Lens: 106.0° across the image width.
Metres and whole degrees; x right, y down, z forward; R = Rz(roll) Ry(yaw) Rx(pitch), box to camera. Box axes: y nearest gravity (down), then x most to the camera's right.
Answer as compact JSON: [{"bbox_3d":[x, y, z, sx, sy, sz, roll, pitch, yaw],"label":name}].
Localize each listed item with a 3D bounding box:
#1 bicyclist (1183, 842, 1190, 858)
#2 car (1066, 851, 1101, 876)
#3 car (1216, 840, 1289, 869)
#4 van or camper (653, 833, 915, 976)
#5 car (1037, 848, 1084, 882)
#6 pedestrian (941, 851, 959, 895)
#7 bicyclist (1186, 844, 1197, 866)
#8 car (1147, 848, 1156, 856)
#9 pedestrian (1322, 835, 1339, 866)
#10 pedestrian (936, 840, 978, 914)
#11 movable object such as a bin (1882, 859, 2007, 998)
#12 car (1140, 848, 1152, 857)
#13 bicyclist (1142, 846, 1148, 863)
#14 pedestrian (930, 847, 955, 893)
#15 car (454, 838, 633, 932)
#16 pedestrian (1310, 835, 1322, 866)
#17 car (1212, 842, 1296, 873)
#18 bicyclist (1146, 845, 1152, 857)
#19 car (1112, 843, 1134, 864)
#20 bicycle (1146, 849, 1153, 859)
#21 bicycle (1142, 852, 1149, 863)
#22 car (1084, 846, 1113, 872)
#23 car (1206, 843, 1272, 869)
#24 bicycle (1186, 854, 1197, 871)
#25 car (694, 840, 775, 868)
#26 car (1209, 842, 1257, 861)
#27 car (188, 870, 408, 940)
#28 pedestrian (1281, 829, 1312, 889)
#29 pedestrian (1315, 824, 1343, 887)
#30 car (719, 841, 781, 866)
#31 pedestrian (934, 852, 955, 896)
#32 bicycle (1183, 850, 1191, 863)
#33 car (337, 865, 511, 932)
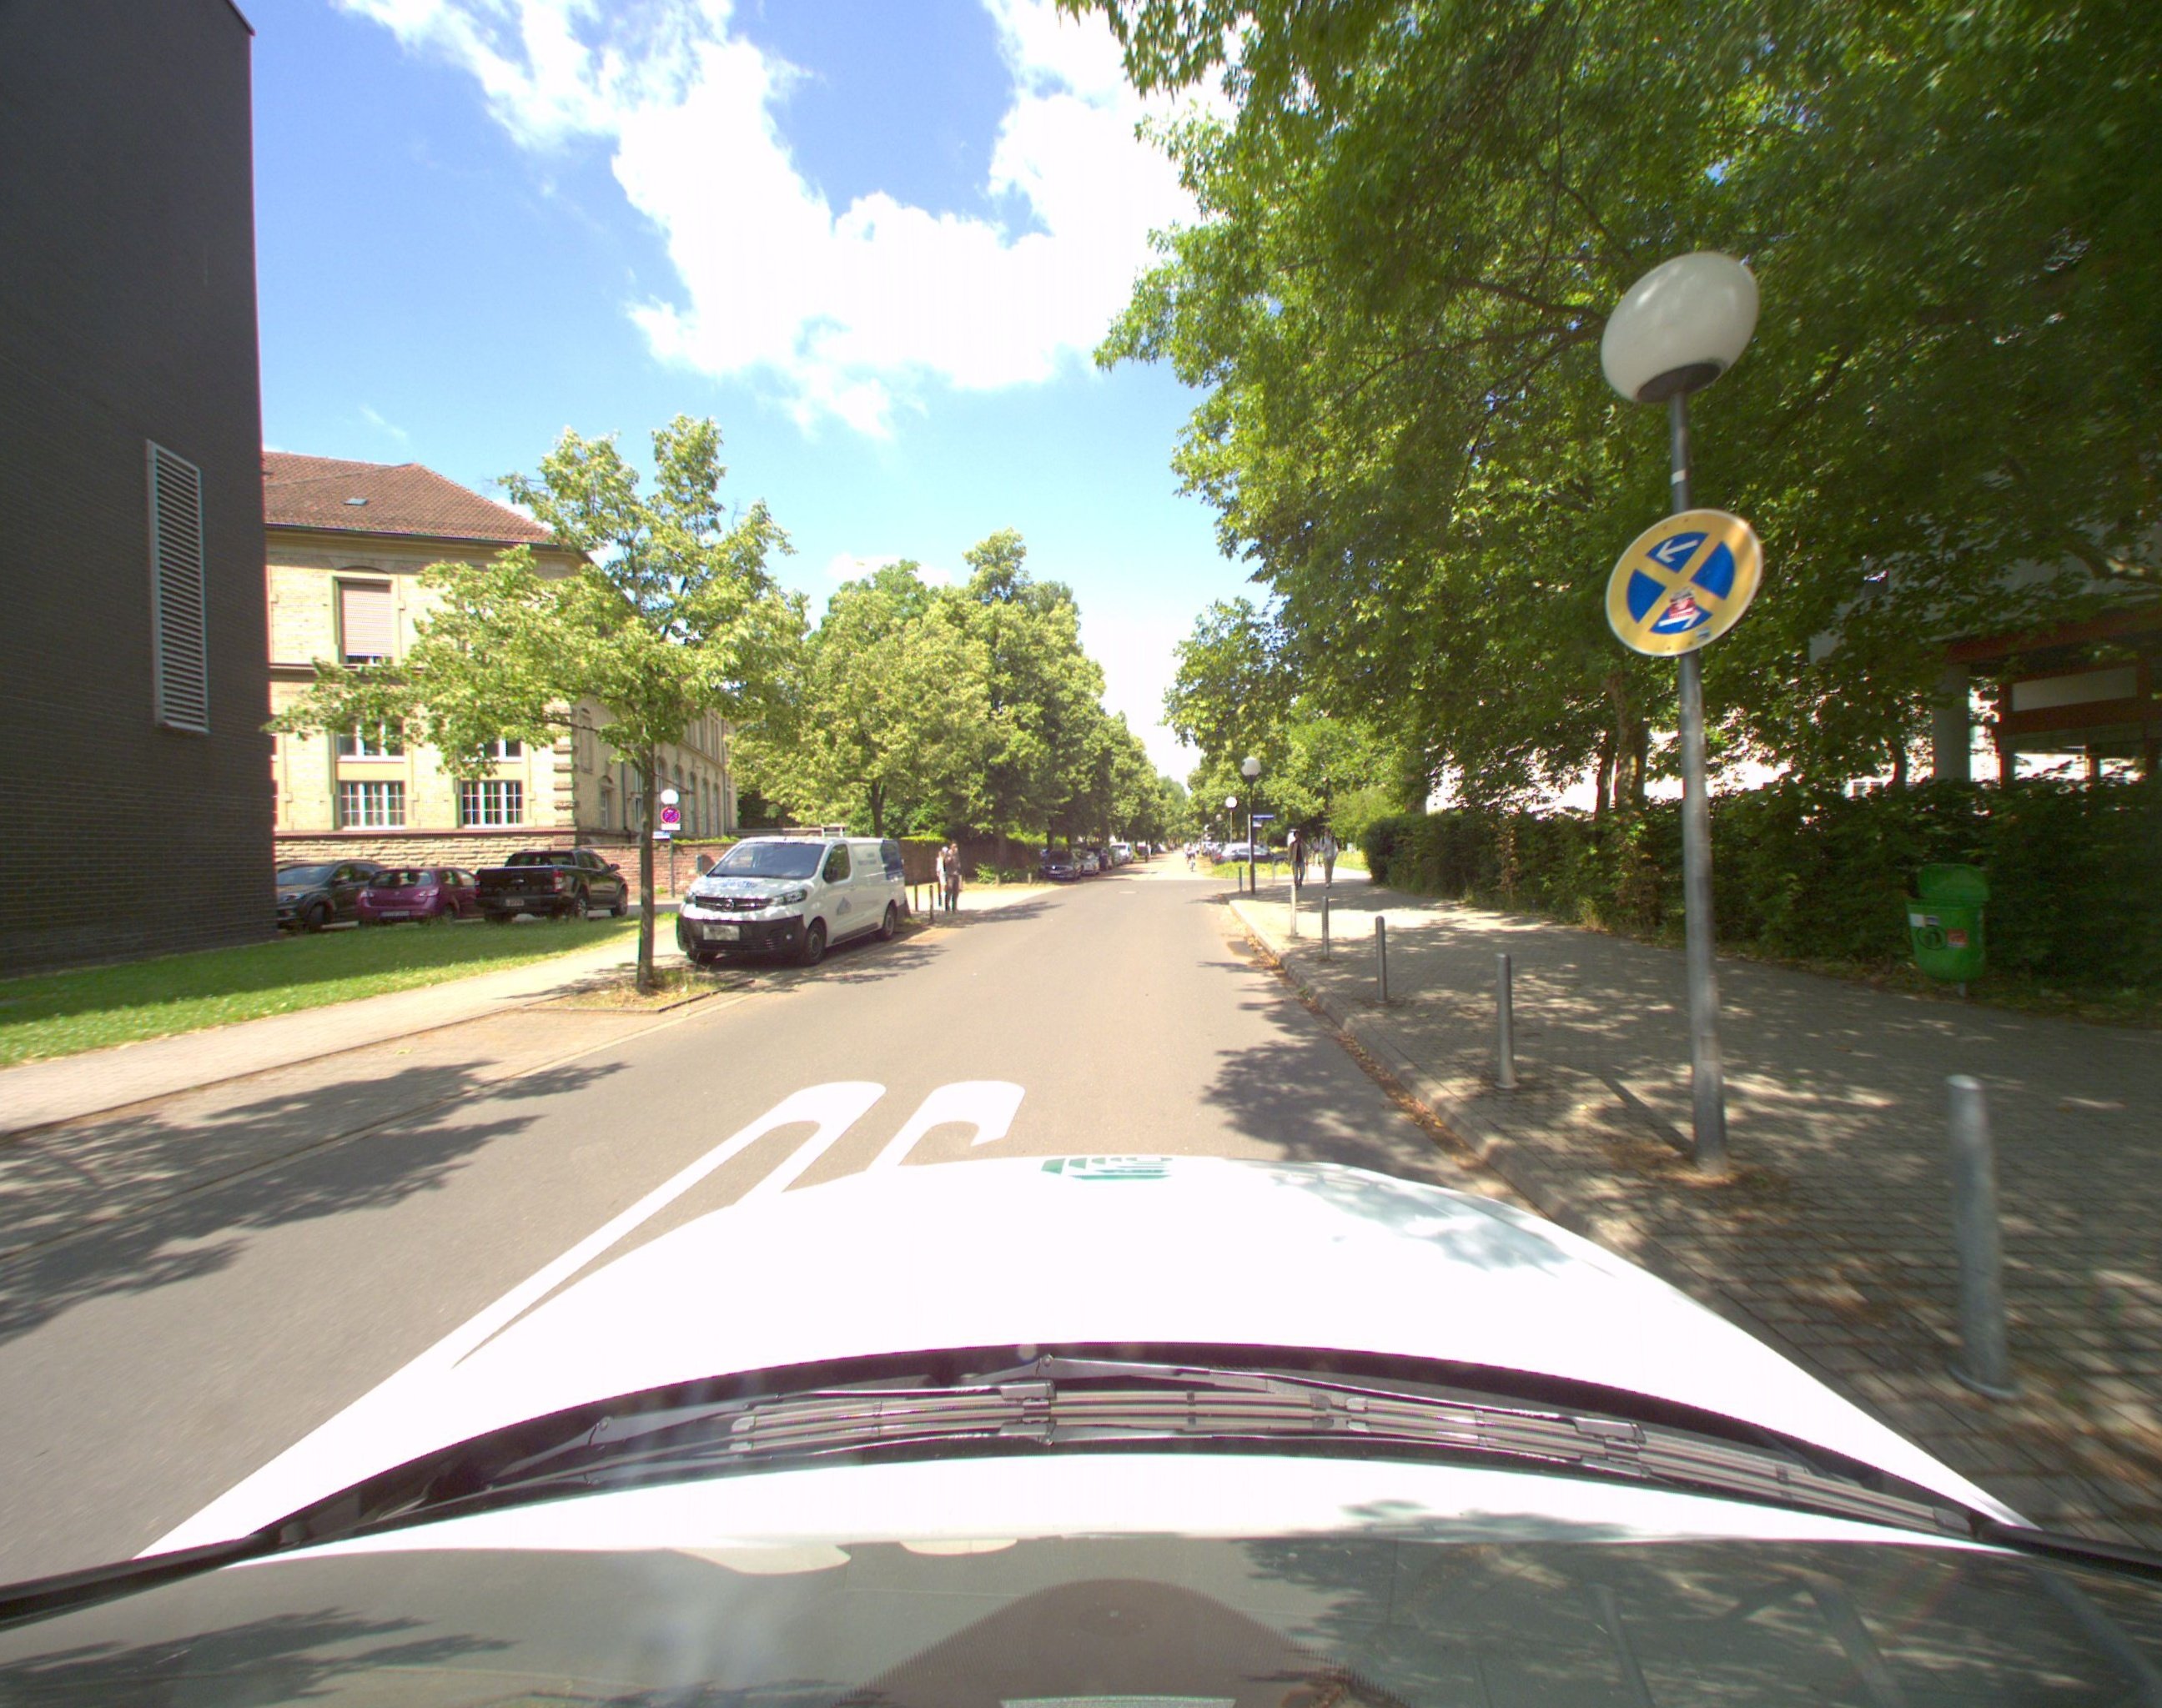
[{"bbox_3d":[8.762,-0.342,67.431,0.519,1.296,0.612,-1,0,6],"label":"bicyclist"},{"bbox_3d":[0.199,0.527,47.733,1.607,1.387,4.007,-1,0,6],"label":"car"},{"bbox_3d":[10.616,0.015,50.695,4.233,1.588,1.814,-2,0,7],"label":"car"},{"bbox_3d":[-4.576,0.658,13.696,1.944,1.923,5.429,0,0,6],"label":"van or camper"},{"bbox_3d":[-0.941,0.511,40.160,1.751,1.522,4.119,-1,0,6],"label":"car"},{"bbox_3d":[-4.821,0.682,29.900,0.496,1.585,0.490,-1,0,-24],"label":"pedestrian"},{"bbox_3d":[6.747,0.074,49.709,0.606,1.296,0.612,-1,0,6],"label":"bicyclist"},{"bbox_3d":[12.375,-0.365,142.581,1.608,1.364,4.006,-1,0,5],"label":"car"},{"bbox_3d":[14.341,-0.188,46.830,0.815,1.755,0.631,-1,0,12],"label":"pedestrian"},{"bbox_3d":[-3.183,0.585,20.959,0.717,1.857,0.796,-1,0,24],"label":"pedestrian"},{"bbox_3d":[7.076,0.590,6.692,0.489,1.072,0.504,-1,0,-7],"label":"movable object such as a bin"},{"bbox_3d":[9.607,-0.229,119.730,1.608,1.364,4.006,-1,0,5],"label":"car"},{"bbox_3d":[6.001,0.041,76.256,0.560,1.498,0.829,-1,0,6],"label":"bicyclist"},{"bbox_3d":[-5.172,0.597,30.430,0.632,1.663,0.596,-1,0,-43],"label":"pedestrian"},{"bbox_3d":[-12.831,0.654,19.899,2.180,1.925,5.157,-1,0,-17],"label":"car"},{"bbox_3d":[13.606,-0.192,47.242,0.597,1.755,0.631,-1,0,13],"label":"pedestrian"},{"bbox_3d":[9.668,0.201,45.858,4.461,1.525,1.814,-2,0,7],"label":"car"},{"bbox_3d":[7.234,-0.307,86.143,0.605,1.296,0.612,-1,0,6],"label":"bicyclist"},{"bbox_3d":[3.701,-0.059,71.539,1.607,1.815,4.007,-1,0,6],"label":"car"},{"bbox_3d":[7.246,0.030,86.169,0.611,1.001,1.426,-1,0,6],"label":"bicycle"},{"bbox_3d":[6.020,0.338,76.327,0.574,1.001,1.426,-1,0,6],"label":"bicycle"},{"bbox_3d":[1.245,0.317,56.316,1.607,1.679,4.007,-1,0,6],"label":"car"},{"bbox_3d":[10.719,0.120,55.561,4.233,1.588,1.814,-2,0,7],"label":"car"},{"bbox_3d":[6.754,0.538,49.704,0.611,1.001,1.426,-1,0,6],"label":"bicycle"},{"bbox_3d":[-20.243,0.000,47.651,4.116,1.517,1.739,-2,0,-32],"label":"car"},{"bbox_3d":[14.128,-0.273,75.677,4.233,1.588,1.924,-2,0,7],"label":"car"},{"bbox_3d":[-17.487,1.058,18.502,1.821,1.324,4.140,1,0,-16],"label":"car"},{"bbox_3d":[6.574,0.141,24.876,0.815,1.755,0.843,-3,0,12],"label":"pedestrian"},{"bbox_3d":[7.556,0.030,24.821,0.668,1.872,0.794,-1,0,7],"label":"pedestrian"},{"bbox_3d":[-23.063,-0.075,56.826,3.865,1.621,1.745,-1,0,-19],"label":"car"},{"bbox_3d":[-4.892,0.709,29.171,0.588,1.527,0.489,-1,0,-32],"label":"pedestrian"},{"bbox_3d":[8.787,0.197,67.436,0.611,1.001,1.426,-1,0,6],"label":"bicycle"},{"bbox_3d":[-15.337,0.974,19.278,1.821,1.324,3.748,-1,0,-16],"label":"car"}]
